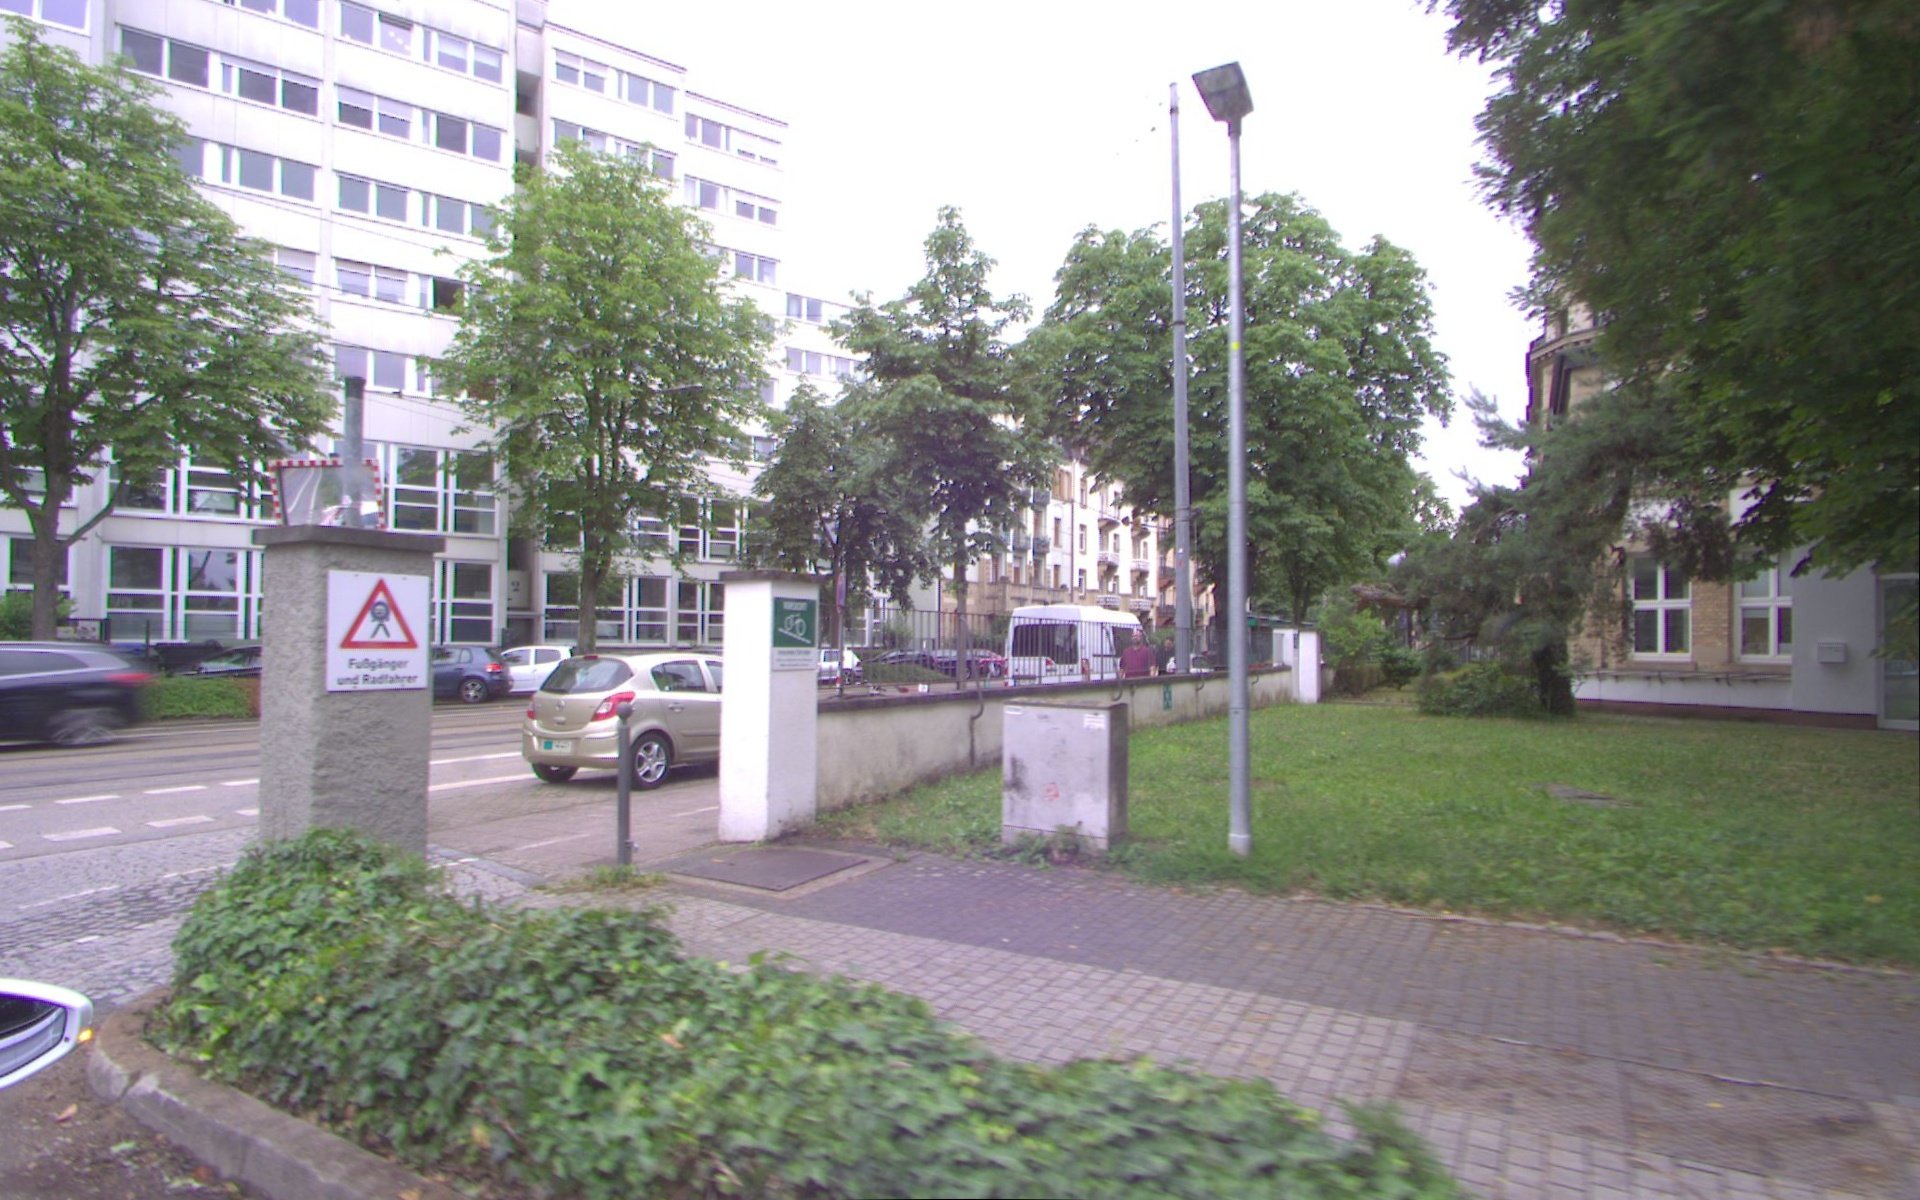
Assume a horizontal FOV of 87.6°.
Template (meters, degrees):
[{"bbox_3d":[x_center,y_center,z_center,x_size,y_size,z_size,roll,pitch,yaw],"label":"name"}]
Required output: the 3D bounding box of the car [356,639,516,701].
[{"bbox_3d":[-13.135,1.734,25.276,3.328,1.492,1.415,0,-2,-14],"label":"car"}]

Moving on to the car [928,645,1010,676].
[{"bbox_3d":[0.413,2.898,48.253,3.723,1.460,1.692,1,-2,-9],"label":"car"}]

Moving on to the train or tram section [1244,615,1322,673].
[{"bbox_3d":[22.395,2.975,68.948,2.628,3.660,12.406,0,-2,30],"label":"train or tram section"}]

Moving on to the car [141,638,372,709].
[{"bbox_3d":[-15.633,1.601,22.479,3.885,1.492,1.671,1,-2,-18],"label":"car"}]

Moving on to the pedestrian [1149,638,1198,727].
[{"bbox_3d":[4.336,1.650,20.323,0.789,1.740,0.953,-1,-2,24],"label":"pedestrian"}]

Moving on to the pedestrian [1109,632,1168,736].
[{"bbox_3d":[3.099,1.425,17.322,0.795,1.740,0.953,0,-2,24],"label":"pedestrian"}]

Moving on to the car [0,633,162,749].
[{"bbox_3d":[-13.460,1.187,13.198,1.796,1.508,4.239,-1,-2,29],"label":"car"}]

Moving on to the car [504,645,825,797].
[{"bbox_3d":[-3.399,1.324,12.146,1.641,1.519,3.579,-1,-3,30],"label":"car"}]

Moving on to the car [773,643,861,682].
[{"bbox_3d":[-5.654,2.448,39.462,3.328,1.492,1.415,1,-2,-14],"label":"car"}]

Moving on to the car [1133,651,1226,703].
[{"bbox_3d":[6.490,2.195,29.310,1.783,1.371,3.799,-1,-2,27],"label":"car"}]

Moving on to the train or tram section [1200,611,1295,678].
[{"bbox_3d":[17.580,2.658,60.418,2.628,3.660,12.406,0,-2,30],"label":"train or tram section"}]

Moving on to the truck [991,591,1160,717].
[{"bbox_3d":[2.800,1.201,23.087,2.137,2.578,4.908,-1,-2,30],"label":"truck"}]

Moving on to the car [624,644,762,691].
[{"bbox_3d":[-9.033,2.286,33.957,4.420,1.491,1.416,1,-4,-18],"label":"car"}]

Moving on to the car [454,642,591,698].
[{"bbox_3d":[-12.242,1.933,28.183,3.328,1.492,1.415,0,-2,-14],"label":"car"}]
